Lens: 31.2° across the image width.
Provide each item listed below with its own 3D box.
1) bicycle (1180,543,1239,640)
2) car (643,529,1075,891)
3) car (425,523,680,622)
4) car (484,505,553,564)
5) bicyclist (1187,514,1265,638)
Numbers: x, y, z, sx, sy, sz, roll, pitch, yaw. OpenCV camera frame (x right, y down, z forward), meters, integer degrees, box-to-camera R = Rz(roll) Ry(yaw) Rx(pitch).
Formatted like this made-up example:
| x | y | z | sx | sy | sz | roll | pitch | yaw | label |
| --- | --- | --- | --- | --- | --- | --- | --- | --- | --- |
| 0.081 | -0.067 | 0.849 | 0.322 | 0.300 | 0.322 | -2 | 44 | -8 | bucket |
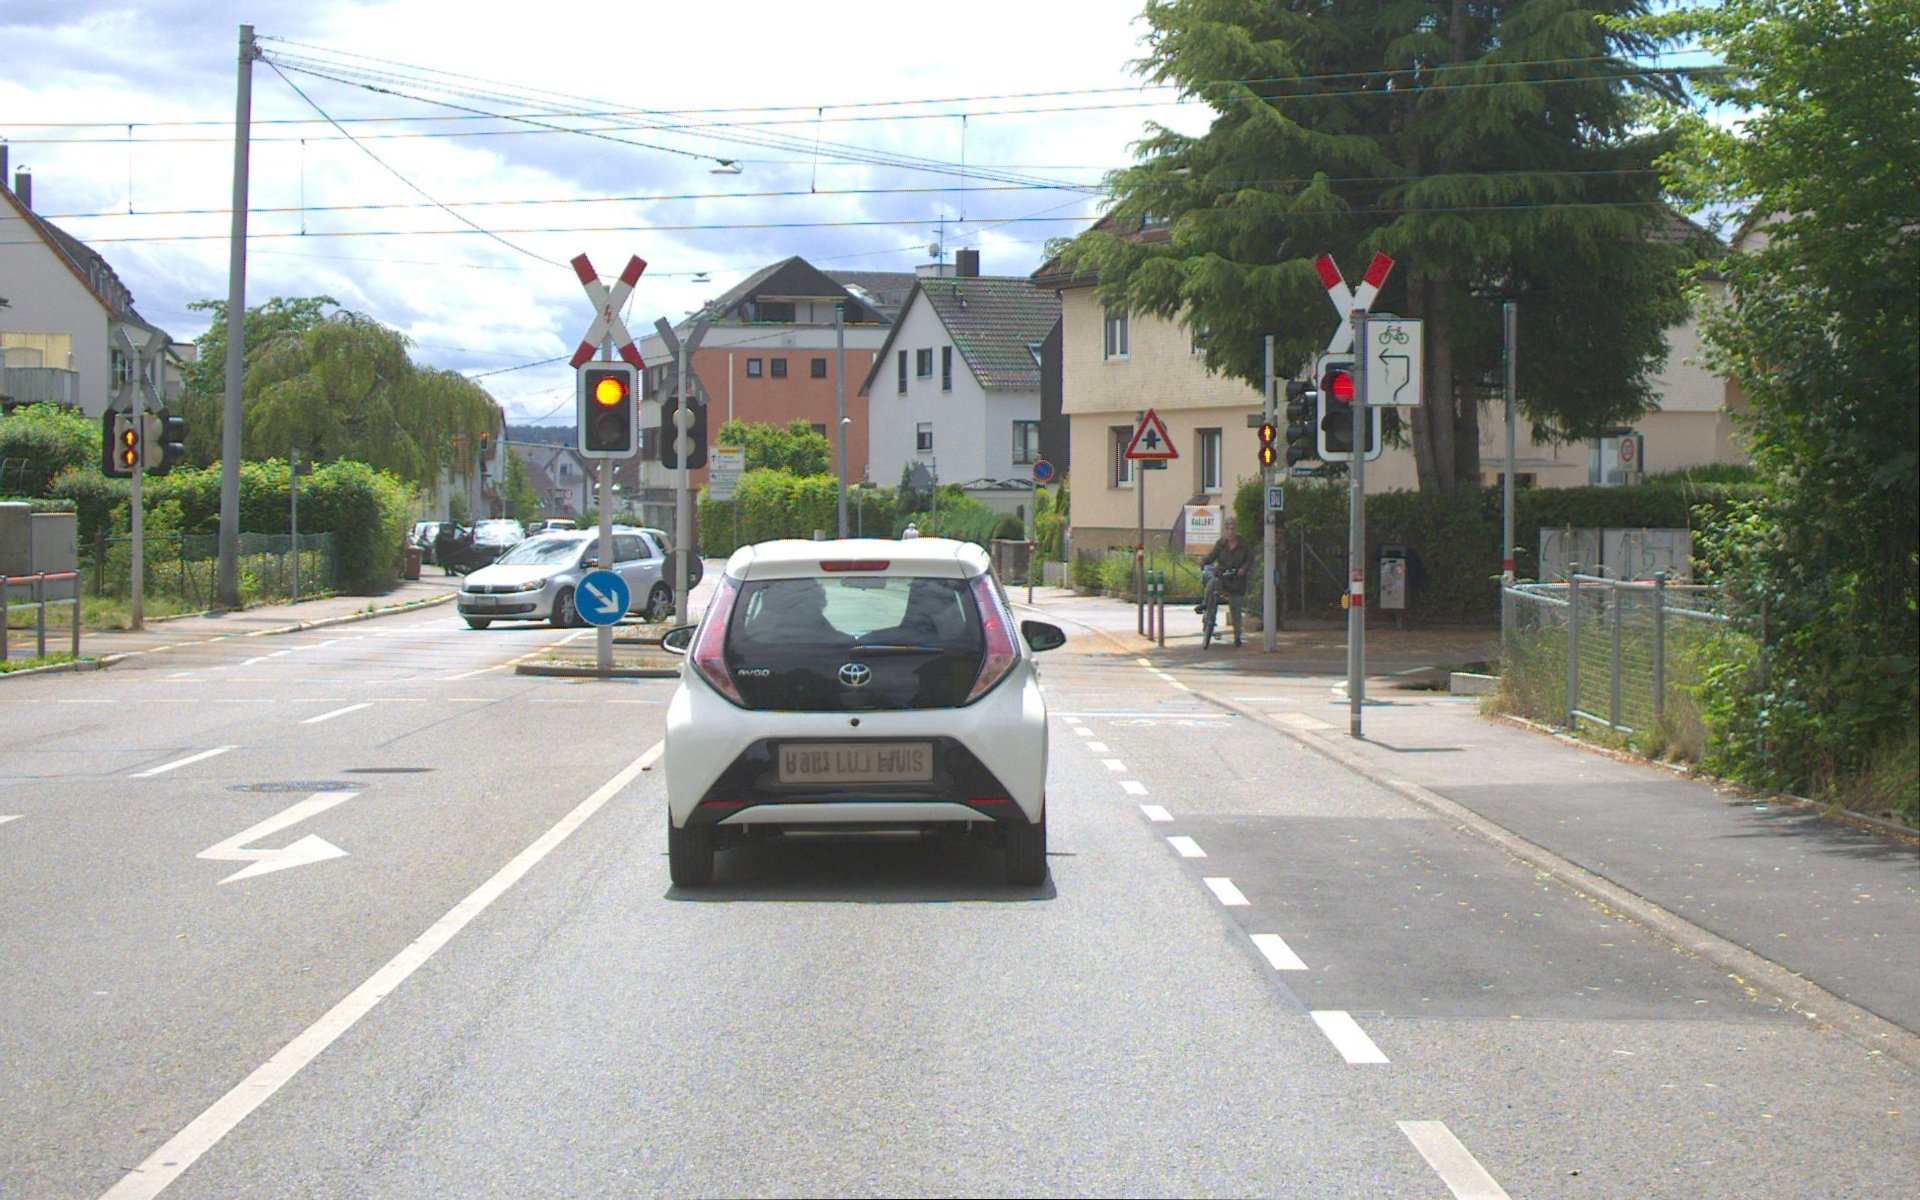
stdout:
| x | y | z | sx | sy | sz | roll | pitch | yaw | label |
| --- | --- | --- | --- | --- | --- | --- | --- | --- | --- |
| 3.268 | -0.120 | 45.096 | 0.457 | 1.168 | 1.480 | -3 | 4 | -6 | bicycle |
| -0.536 | 0.412 | 15.770 | 1.721 | 1.437 | 3.709 | 1 | 1 | -4 | car |
| -6.251 | -0.429 | 53.140 | 1.908 | 1.436 | 4.092 | 2 | 1 | 28 | car |
| -13.362 | -2.004 | 104.227 | 1.993 | 1.713 | 4.001 | 1 | 1 | -7 | car |
| 3.472 | -0.321 | 44.968 | 0.840 | 1.548 | 0.756 | -3 | 4 | -6 | bicyclist |
